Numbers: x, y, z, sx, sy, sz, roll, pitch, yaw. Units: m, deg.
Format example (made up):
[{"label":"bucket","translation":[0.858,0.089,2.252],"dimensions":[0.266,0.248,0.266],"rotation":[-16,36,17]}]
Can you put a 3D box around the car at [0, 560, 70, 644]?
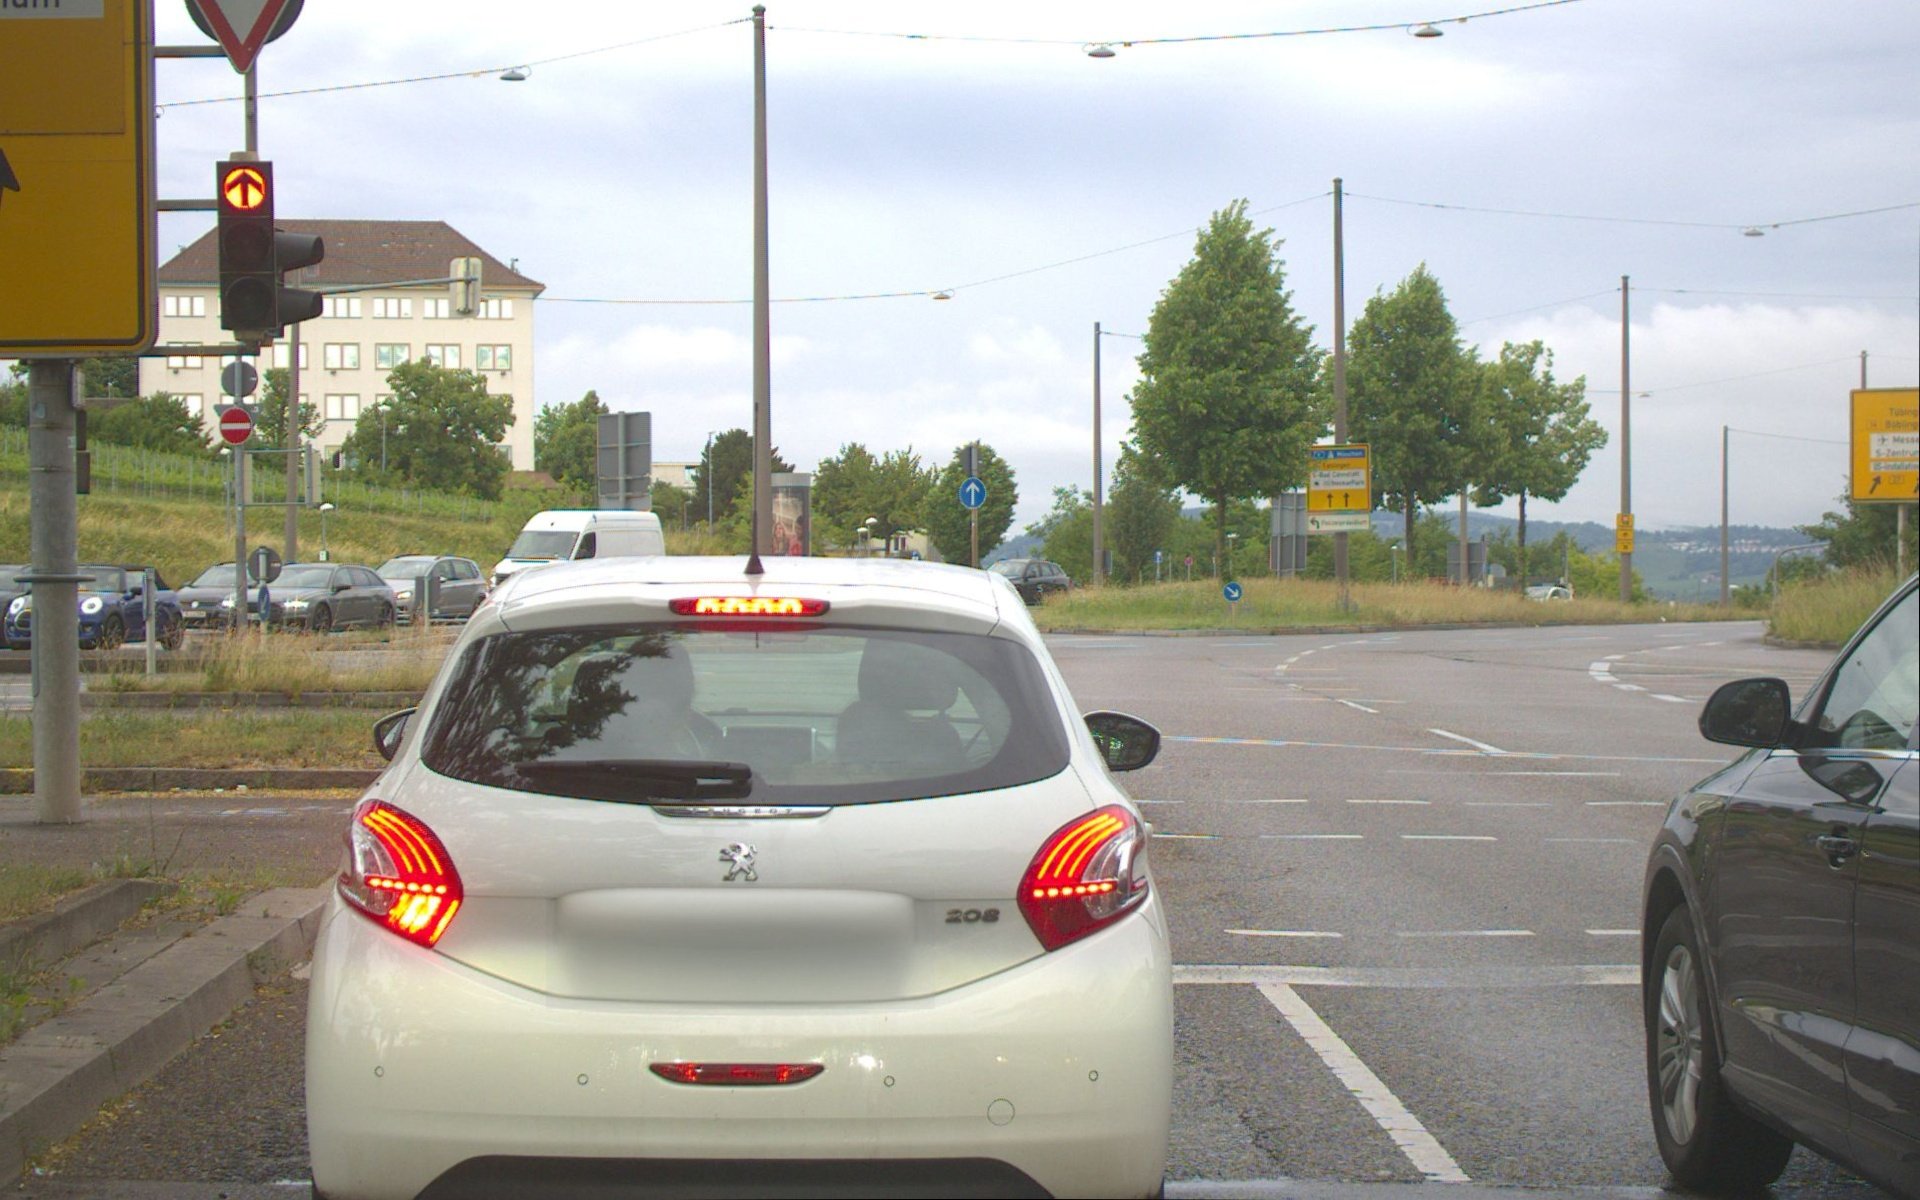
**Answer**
[{"label":"car","translation":[-16.822,0.027,58.965],"dimensions":[1.786,1.391,3.881],"rotation":[1,0,5]}]

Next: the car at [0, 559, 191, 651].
[{"label":"car","translation":[-14.004,0.098,55.461],"dimensions":[1.787,1.391,3.880],"rotation":[1,0,9]}]

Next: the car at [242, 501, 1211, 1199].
[{"label":"car","translation":[-0.469,0.563,8.161],"dimensions":[1.717,1.484,4.000],"rotation":[1,0,-1]}]

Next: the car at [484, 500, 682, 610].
[{"label":"car","translation":[-9.296,-1.083,85.318],"dimensions":[1.996,2.550,6.162],"rotation":[2,0,24]}]

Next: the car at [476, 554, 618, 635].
[{"label":"car","translation":[-7.509,-0.099,62.883],"dimensions":[1.776,1.420,4.373],"rotation":[0,0,4]}]

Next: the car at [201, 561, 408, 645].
[{"label":"car","translation":[-12.335,0.050,65.049],"dimensions":[1.902,1.484,4.889],"rotation":[2,0,14]}]

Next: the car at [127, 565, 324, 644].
[{"label":"car","translation":[-14.847,0.071,69.726],"dimensions":[1.826,1.467,4.664],"rotation":[0,2,18]}]

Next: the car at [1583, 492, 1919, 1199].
[{"label":"car","translation":[2.584,0.633,6.643],"dimensions":[1.884,1.590,4.114],"rotation":[2,0,-1]}]

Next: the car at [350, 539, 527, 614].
[{"label":"car","translation":[-11.712,-0.515,77.443],"dimensions":[1.996,1.570,4.190],"rotation":[2,0,23]}]

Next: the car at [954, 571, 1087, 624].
[{"label":"car","translation":[1.880,-0.074,105.662],"dimensions":[1.998,1.507,4.223],"rotation":[2,0,35]}]
